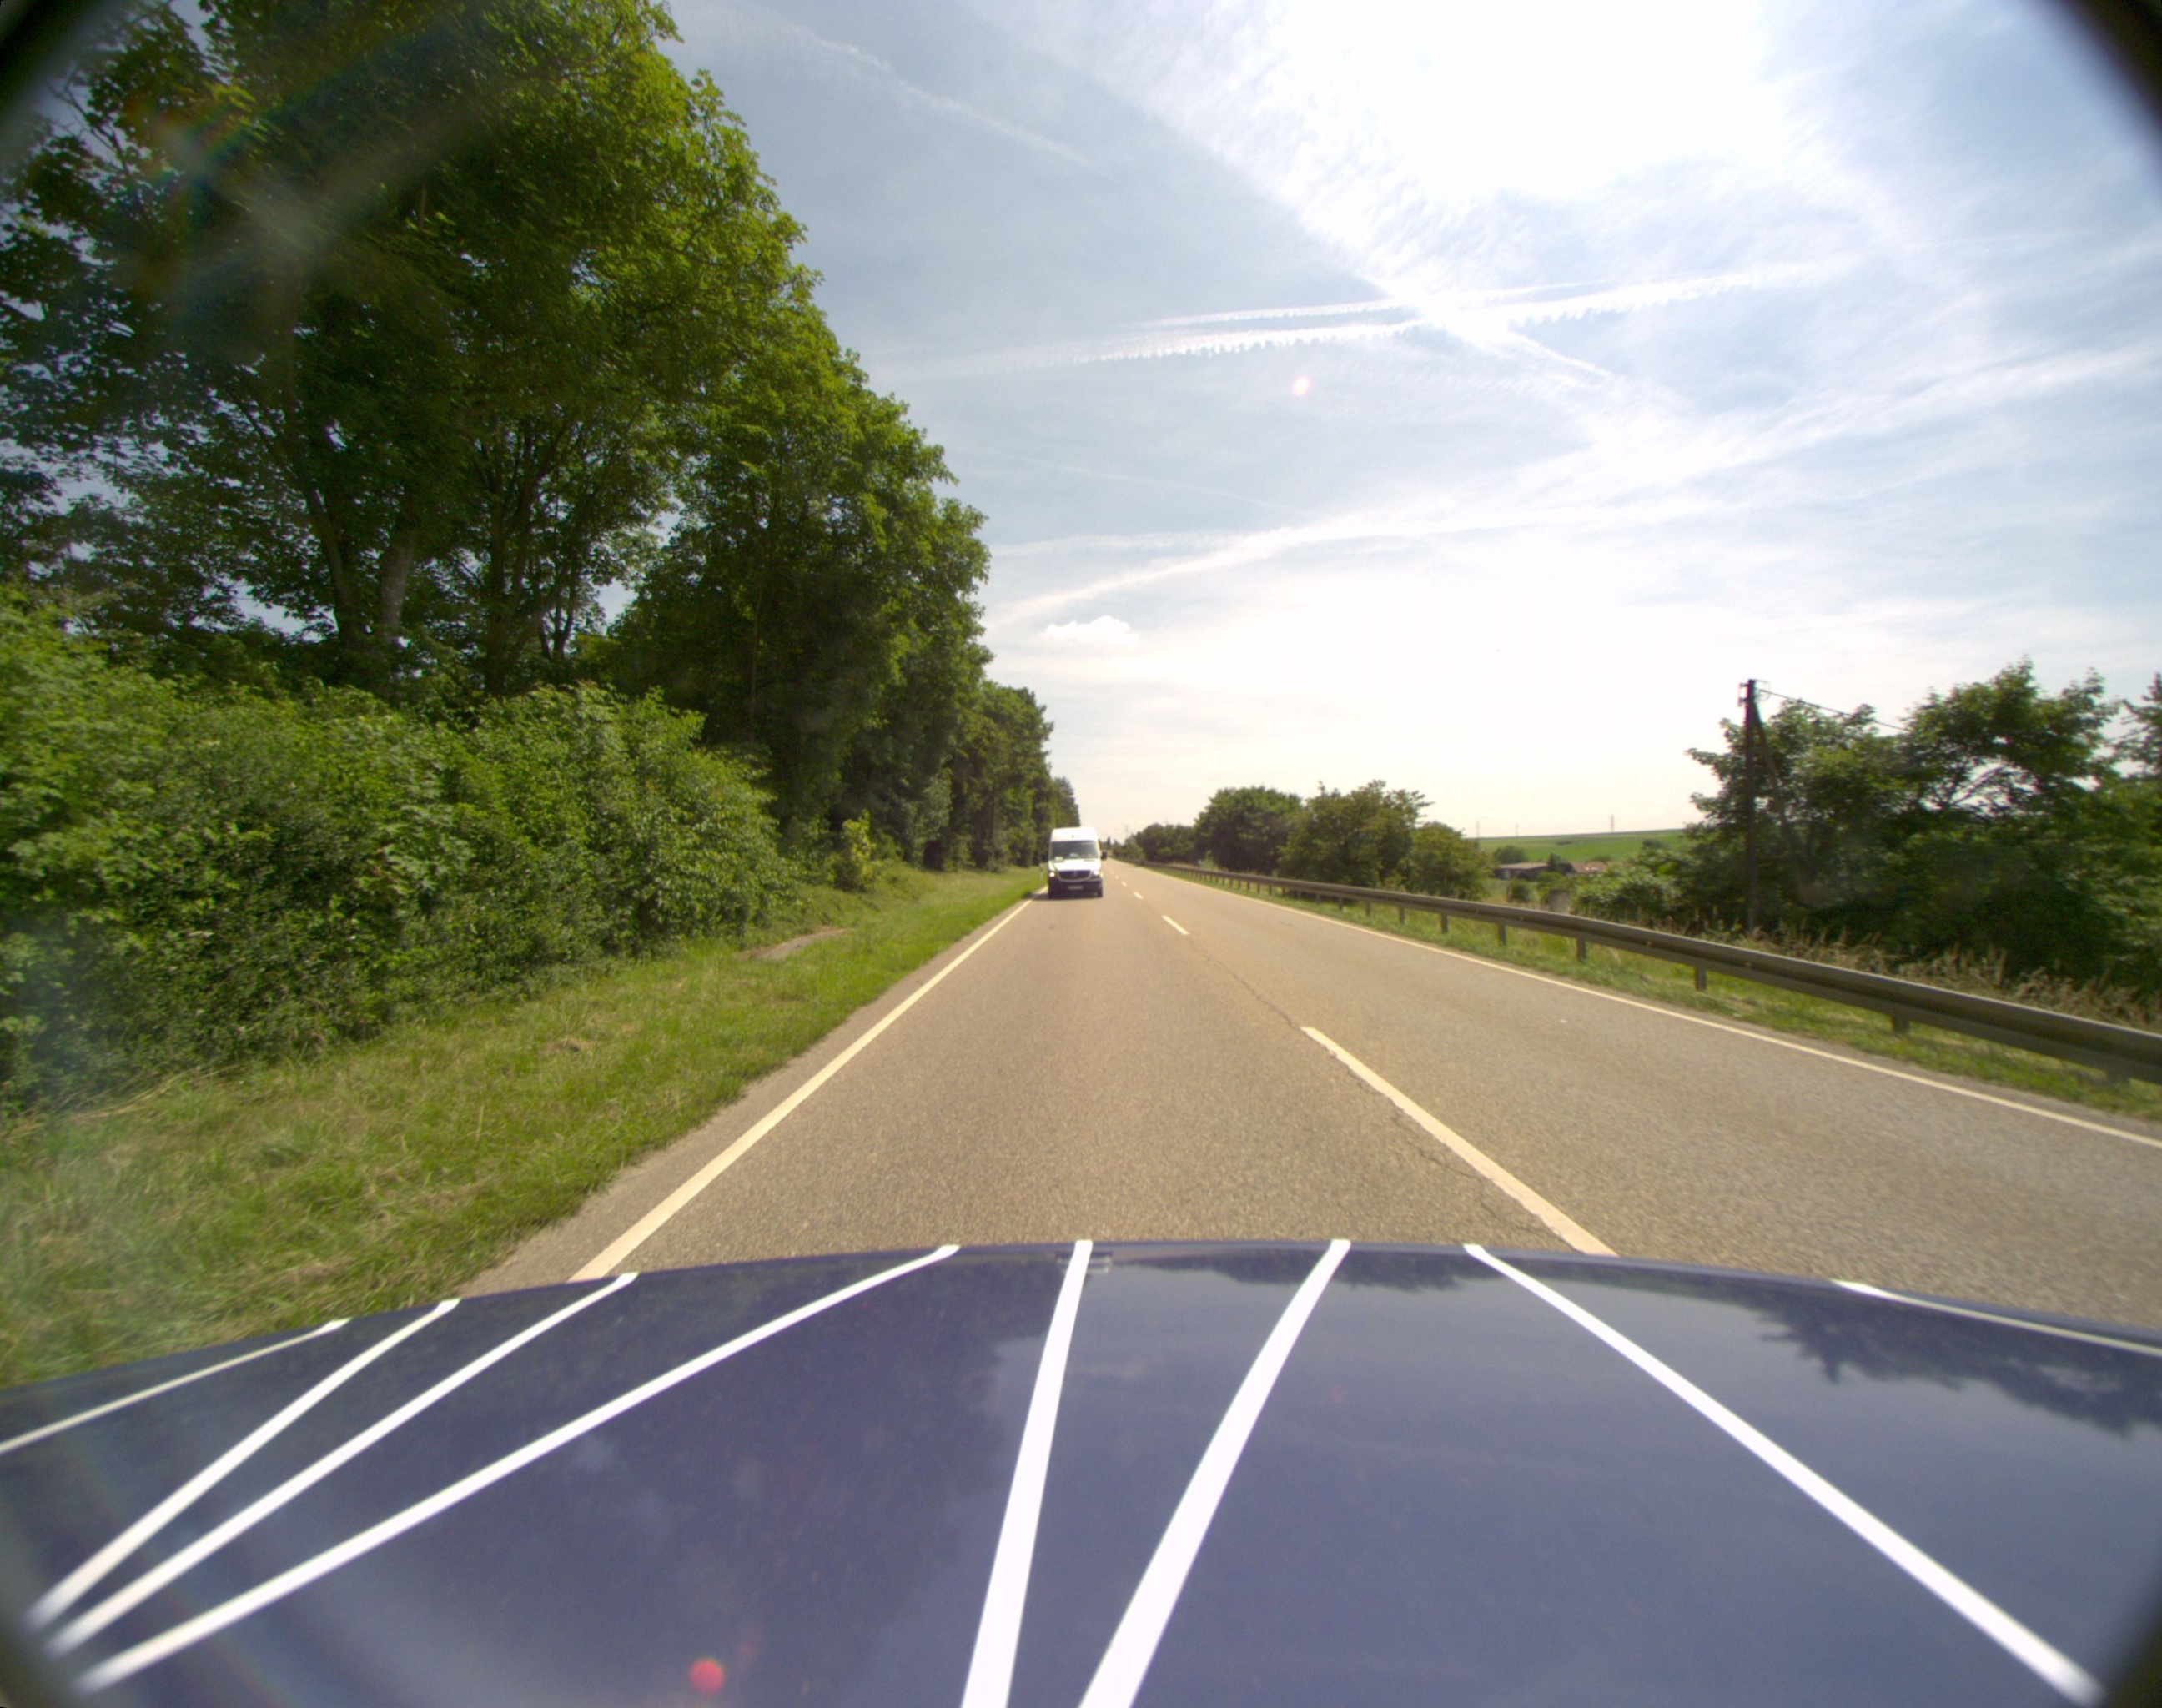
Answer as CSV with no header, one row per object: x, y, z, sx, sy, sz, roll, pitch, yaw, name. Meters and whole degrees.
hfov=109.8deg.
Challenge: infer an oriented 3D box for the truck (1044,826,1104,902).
-0.145,0.329,29.863,2.022,2.567,7.225,-2,0,2,truck
